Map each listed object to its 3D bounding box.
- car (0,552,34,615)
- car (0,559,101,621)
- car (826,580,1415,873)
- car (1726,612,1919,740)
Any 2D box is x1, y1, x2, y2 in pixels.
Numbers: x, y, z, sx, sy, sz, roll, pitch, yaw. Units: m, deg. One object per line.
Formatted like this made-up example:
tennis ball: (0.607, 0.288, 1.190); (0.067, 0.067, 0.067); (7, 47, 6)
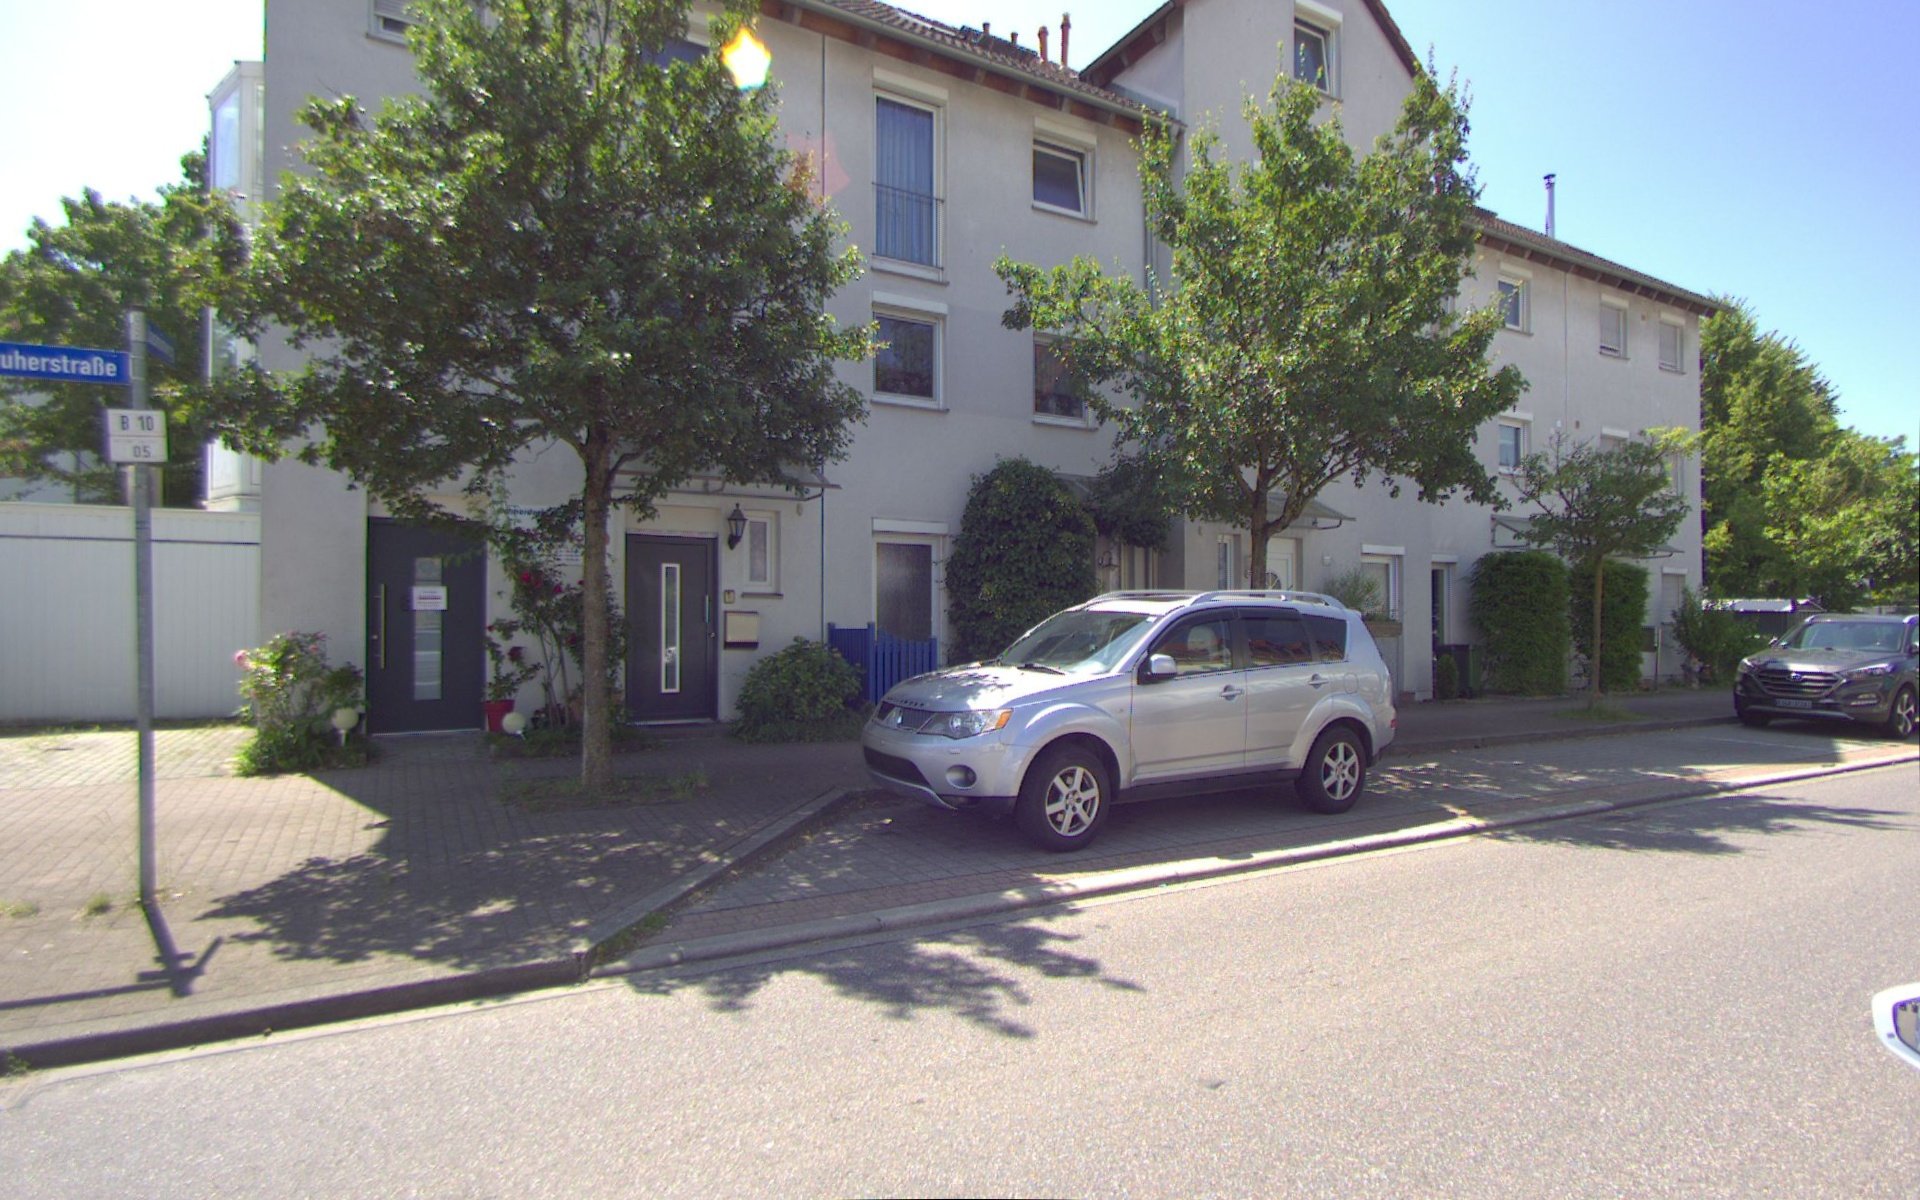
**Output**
car: (-25.865, -0.457, 25.482); (1.720, 1.645, 3.988); (2, 0, -14)
car: (-23.727, -0.285, 25.489); (1.668, 1.447, 3.980); (1, 1, -21)
car: (1.368, 0.767, 7.757); (4.474, 1.709, 1.697); (1, 0, -31)
car: (13.066, 1.012, 14.612); (3.950, 1.641, 1.684); (1, 0, -30)
